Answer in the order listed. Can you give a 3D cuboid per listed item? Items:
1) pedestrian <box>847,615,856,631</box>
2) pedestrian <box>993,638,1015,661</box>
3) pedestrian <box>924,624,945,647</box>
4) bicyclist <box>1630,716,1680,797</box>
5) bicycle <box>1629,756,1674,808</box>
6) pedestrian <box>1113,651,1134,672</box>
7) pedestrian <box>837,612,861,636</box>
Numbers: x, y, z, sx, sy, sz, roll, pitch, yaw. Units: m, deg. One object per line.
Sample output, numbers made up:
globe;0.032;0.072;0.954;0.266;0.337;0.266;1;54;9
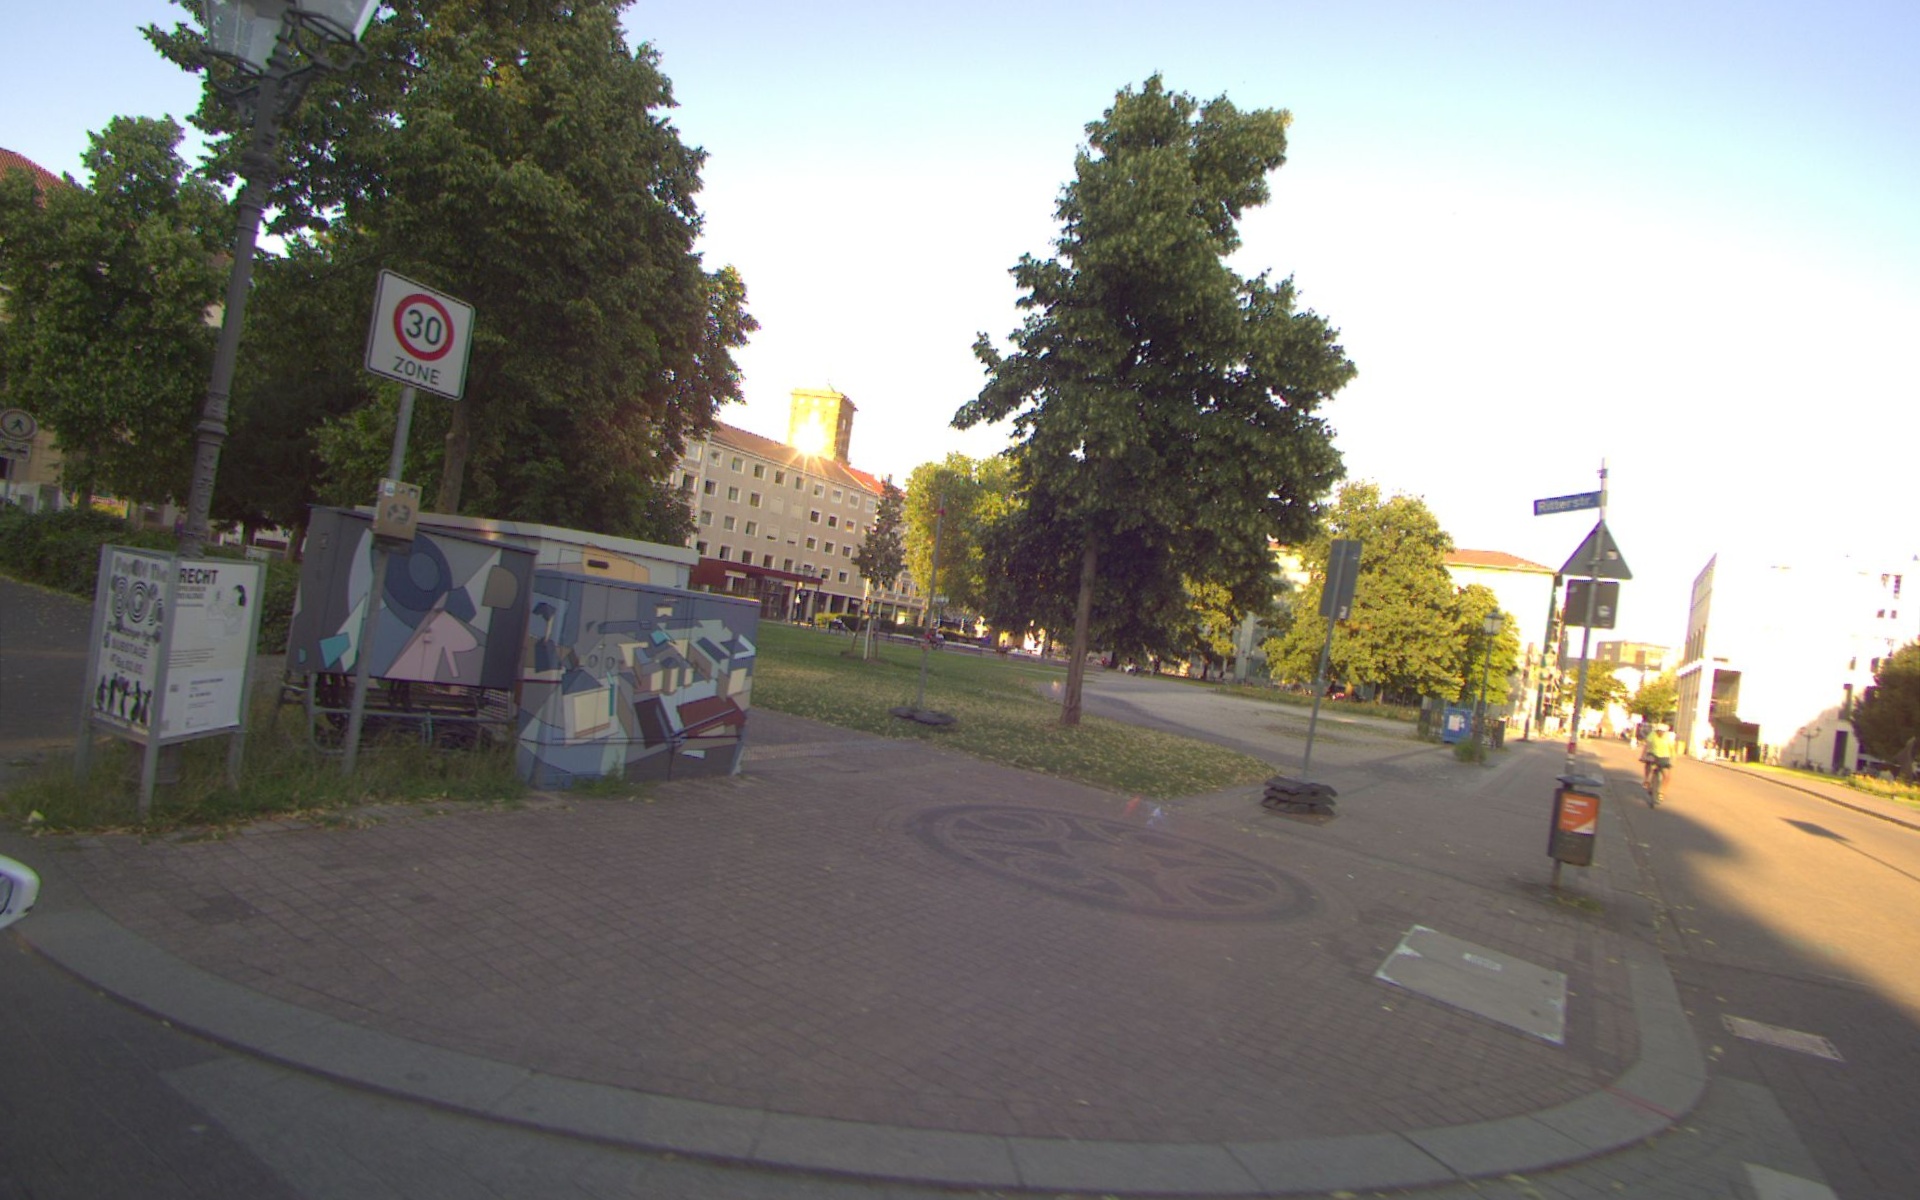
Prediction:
pedestrian;-9.772;2.048;90.714;0.640;1.383;1.032;8;-1;-7
pedestrian;2.619;2.940;59.667;0.724;1.214;1.103;7;-1;32
pedestrian;-1.504;2.115;59.914;0.653;1.214;1.103;7;-1;32
bicyclist;14.550;3.261;21.075;0.640;1.546;0.723;7;0;30
bicycle;14.487;3.803;21.108;0.537;0.877;1.712;7;-1;30
pedestrian;12.419;4.662;76.260;1.134;1.386;0.831;9;0;-20
pedestrian;-6.993;1.522;63.519;1.061;1.307;0.834;9;0;-38
